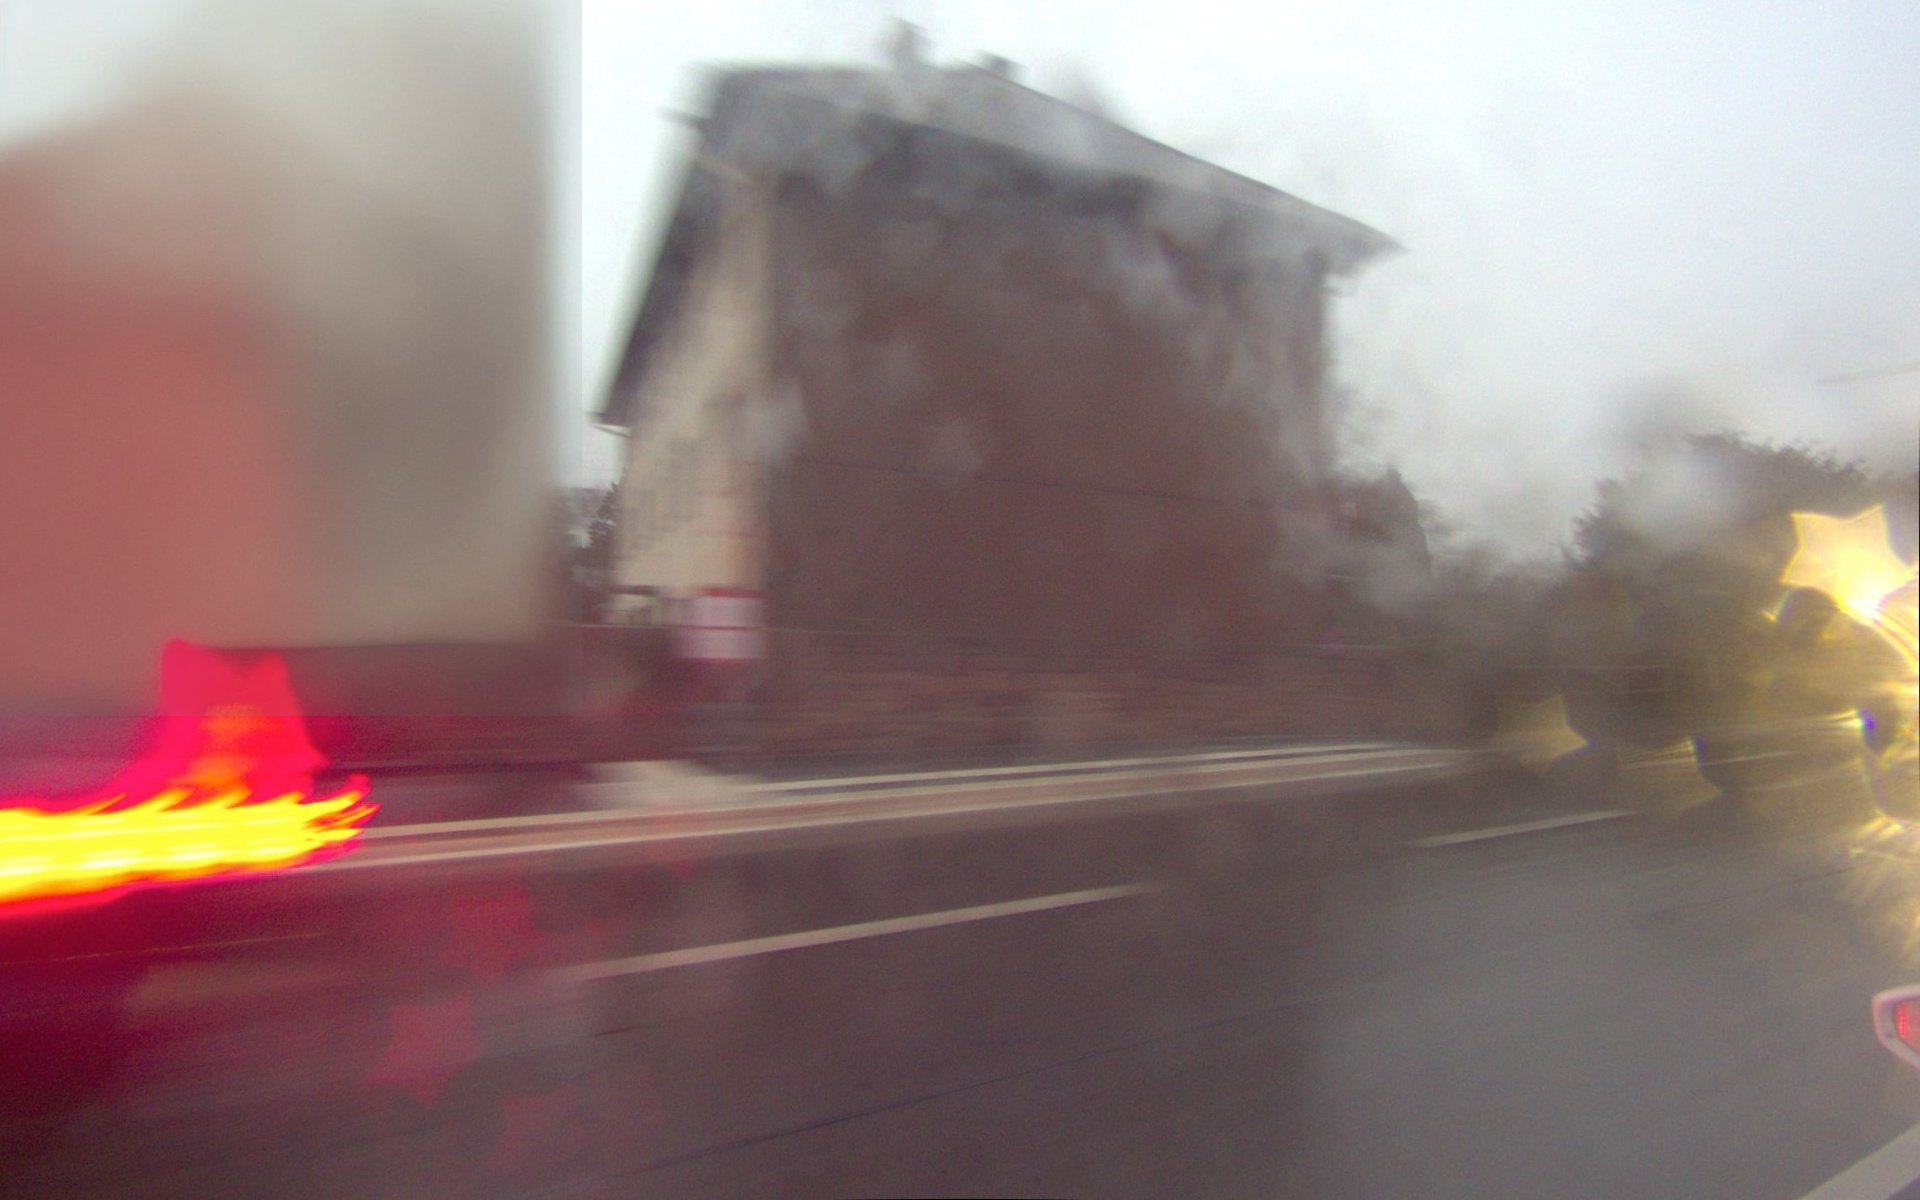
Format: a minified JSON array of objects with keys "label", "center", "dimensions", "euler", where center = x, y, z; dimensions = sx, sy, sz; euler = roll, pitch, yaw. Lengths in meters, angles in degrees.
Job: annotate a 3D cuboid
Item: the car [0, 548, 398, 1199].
[{"label":"car","center":[-3.406,0.718,1.703],"dimensions":[4.239,1.606,1.867],"euler":[2,-3,-30]}]
